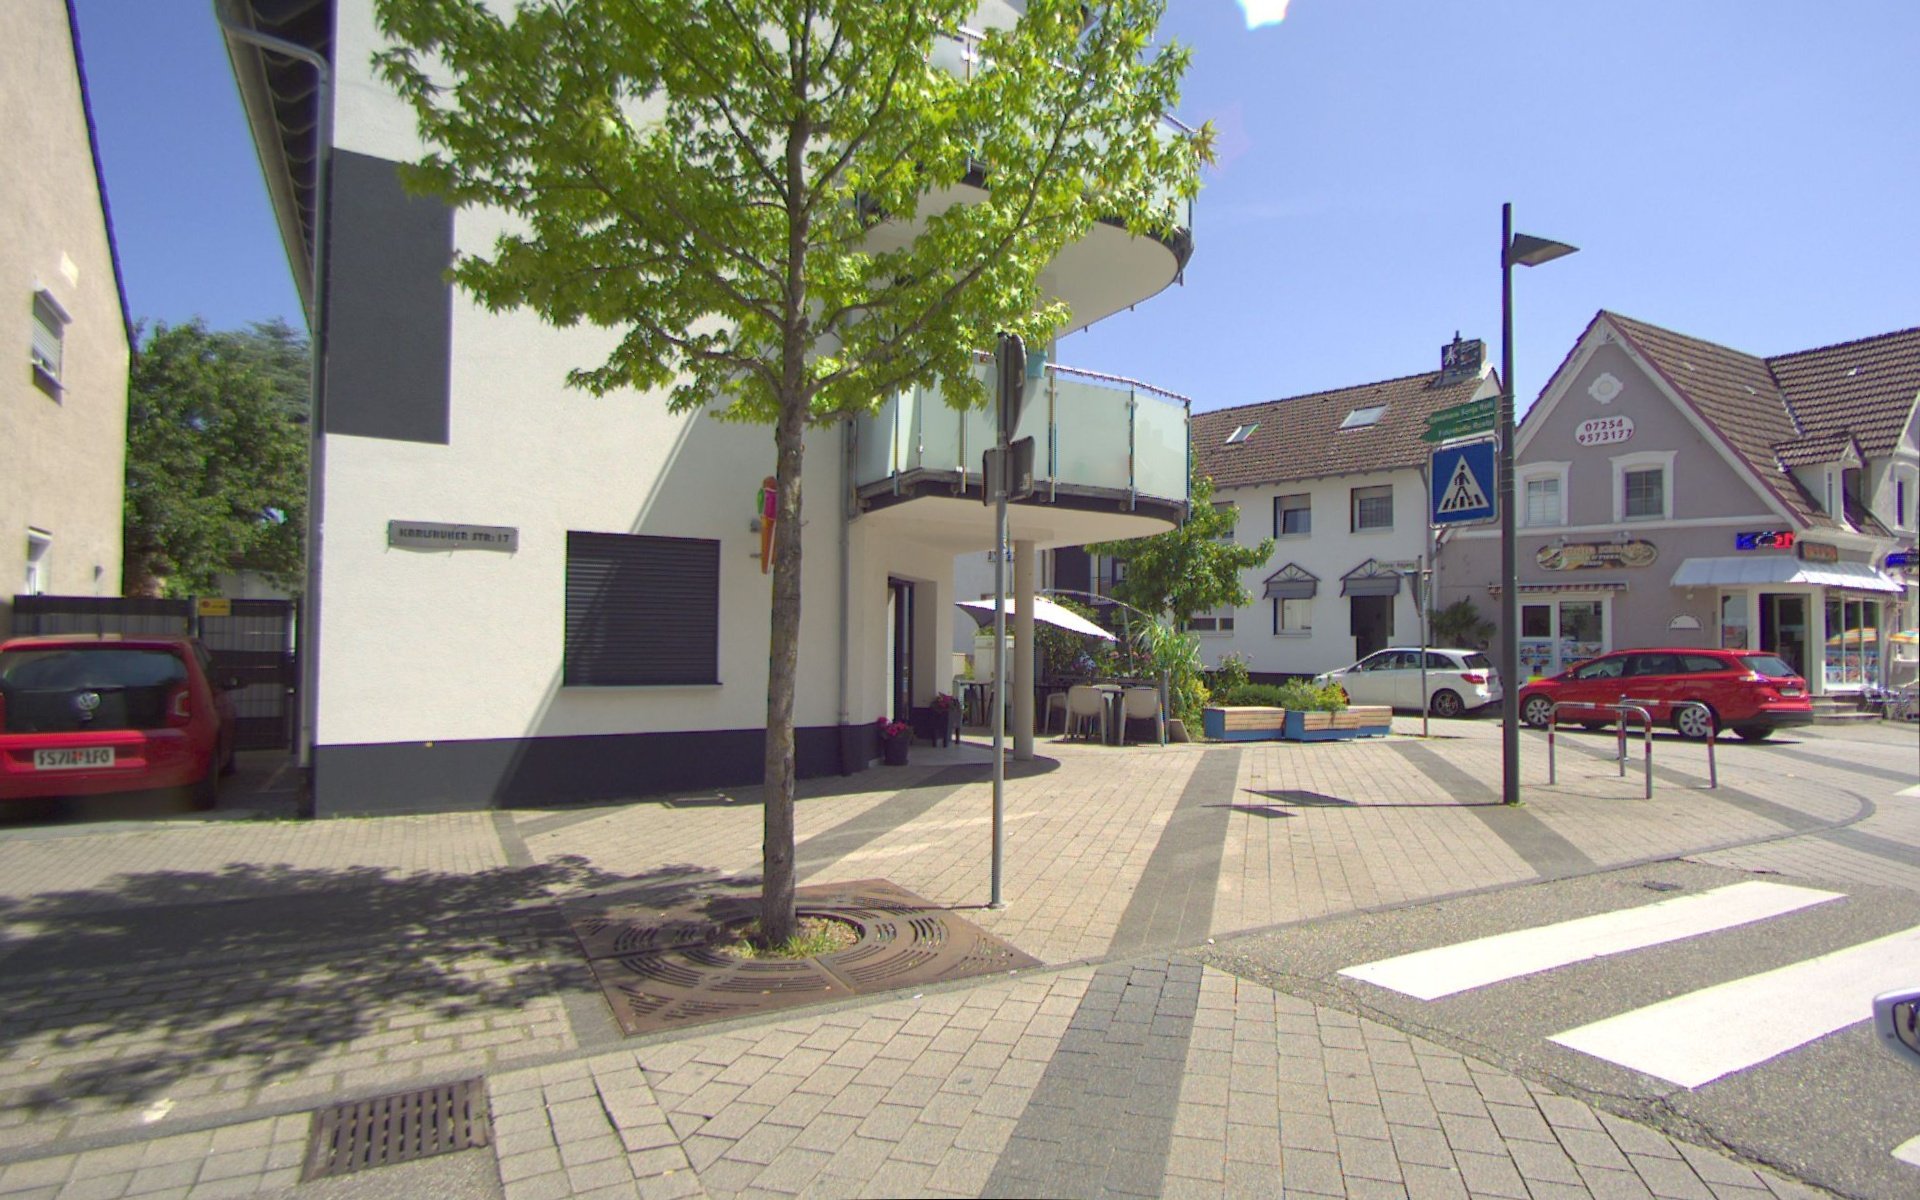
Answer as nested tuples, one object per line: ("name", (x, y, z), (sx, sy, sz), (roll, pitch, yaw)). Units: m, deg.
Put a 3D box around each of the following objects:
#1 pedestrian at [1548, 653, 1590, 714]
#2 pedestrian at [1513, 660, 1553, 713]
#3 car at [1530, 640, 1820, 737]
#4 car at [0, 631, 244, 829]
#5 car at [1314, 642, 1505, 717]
("pedestrian", (13.899, 1.891, 22.940), (0.623, 1.306, 0.789), (2, 0, 18))
("pedestrian", (13.049, 1.964, 22.894), (0.623, 1.130, 0.789), (2, 0, 18))
("car", (11.890, 1.406, 16.969), (1.660, 1.449, 3.656), (2, -3, -25))
("car", (-7.508, 1.029, 9.044), (1.570, 1.462, 3.096), (2, -3, -33))
("car", (10.629, 1.824, 23.953), (1.508, 1.566, 3.876), (0, -2, -45))
